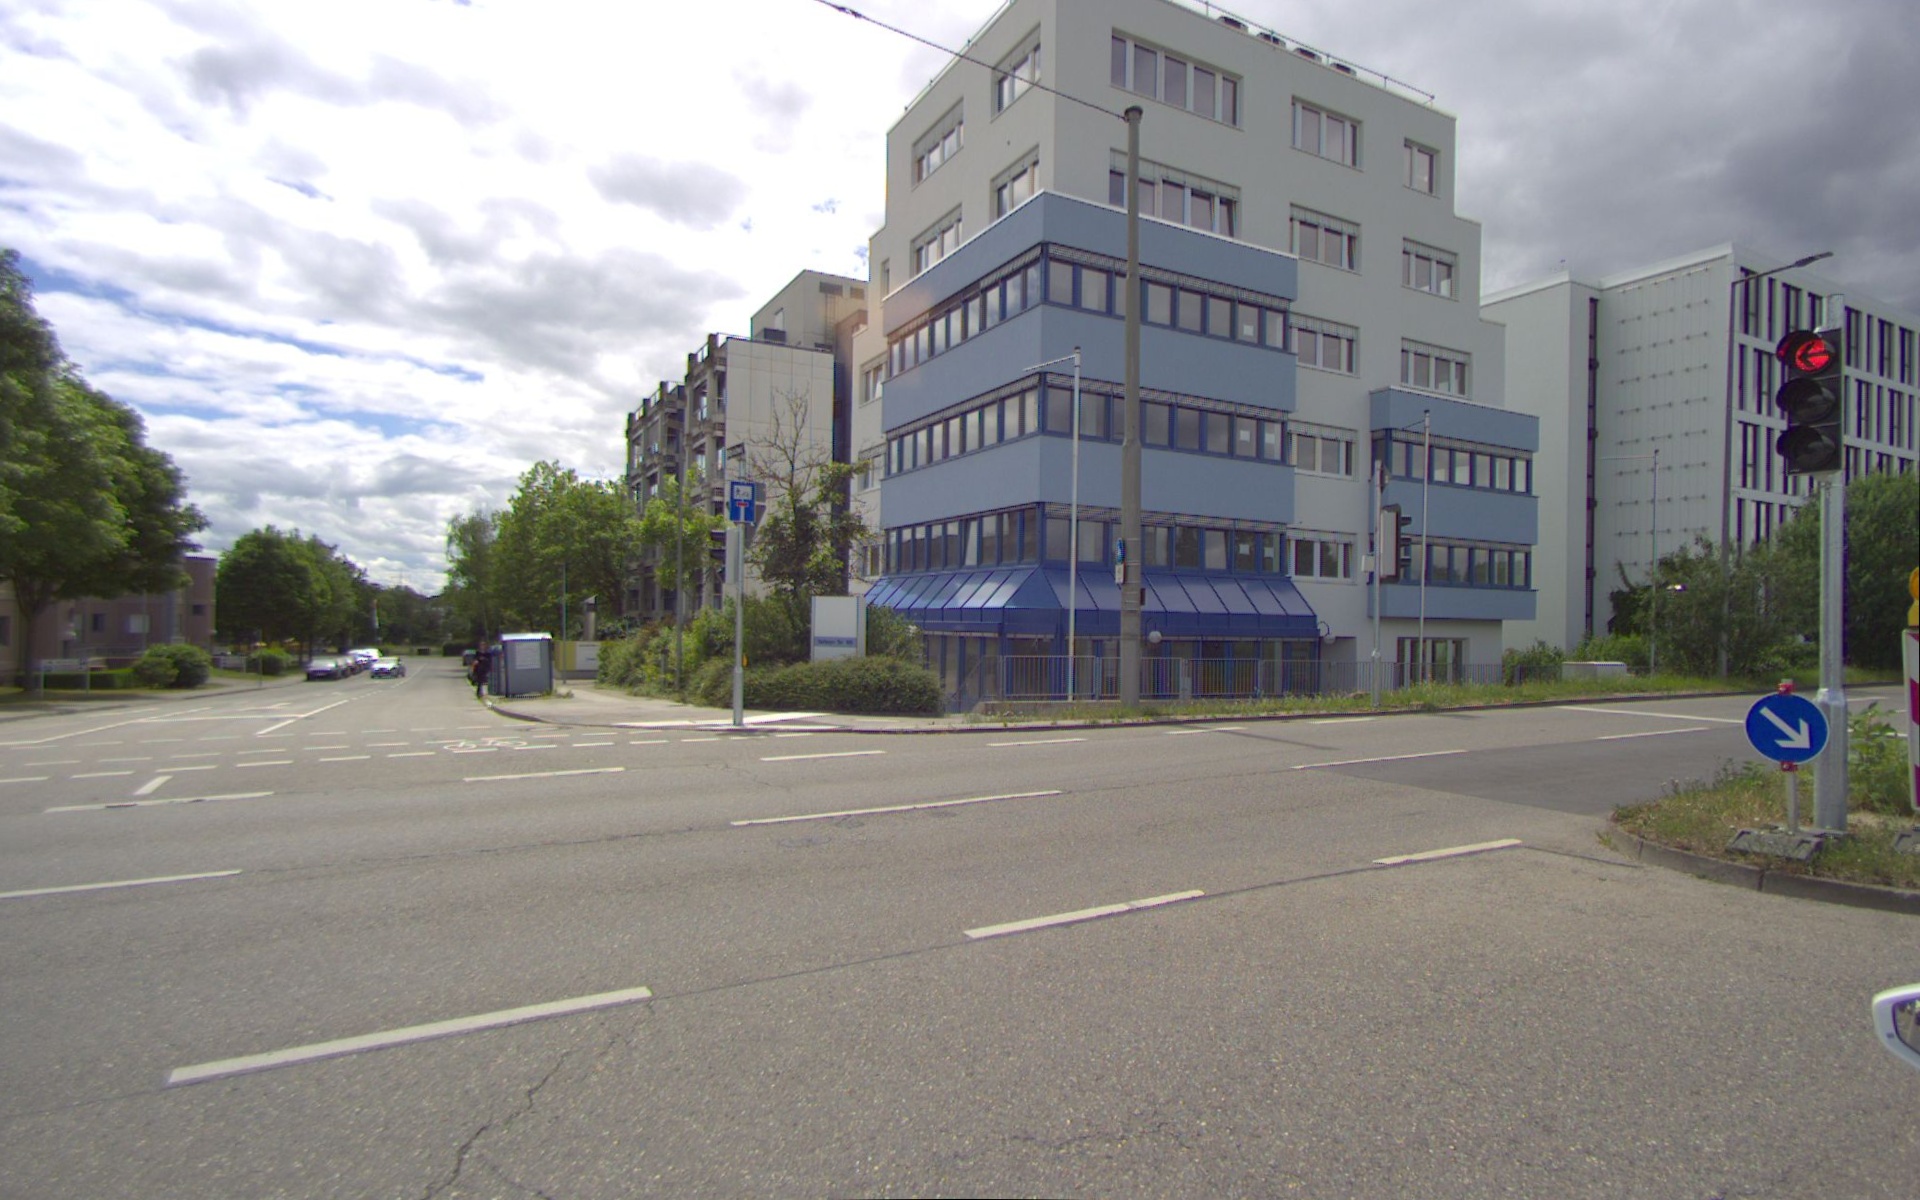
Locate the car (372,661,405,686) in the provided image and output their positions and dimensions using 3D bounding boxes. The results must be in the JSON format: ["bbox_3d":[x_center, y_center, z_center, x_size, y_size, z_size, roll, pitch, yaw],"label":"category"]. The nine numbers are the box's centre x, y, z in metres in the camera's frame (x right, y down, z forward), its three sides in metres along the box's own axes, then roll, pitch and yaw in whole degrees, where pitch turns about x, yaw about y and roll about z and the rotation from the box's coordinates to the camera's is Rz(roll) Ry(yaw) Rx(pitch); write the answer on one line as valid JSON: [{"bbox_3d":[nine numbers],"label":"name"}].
[{"bbox_3d":[-40.713,5.222,71.560,1.977,1.528,3.967,1,-1,-31],"label":"car"}]

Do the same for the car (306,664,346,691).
[{"bbox_3d":[-42.440,5.133,67.336,1.976,1.528,3.970,1,-1,-29],"label":"car"}]

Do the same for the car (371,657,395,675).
[{"bbox_3d":[-57.700,6.561,100.463,1.976,1.528,3.970,1,-1,-29],"label":"car"}]

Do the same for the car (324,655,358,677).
[{"bbox_3d":[-48.517,5.146,78.773,1.976,1.528,3.970,1,-1,-29],"label":"car"}]

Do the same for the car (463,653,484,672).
[{"bbox_3d":[-53.742,6.920,111.074,1.973,2.040,3.976,1,-3,-25],"label":"car"}]

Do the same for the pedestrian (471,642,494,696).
[{"bbox_3d":[-14.816,2.143,31.154,0.613,1.666,0.745,1,-4,-28],"label":"pedestrian"}]

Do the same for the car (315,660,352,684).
[{"bbox_3d":[-44.950,5.139,72.102,1.976,1.528,3.970,1,-1,-29],"label":"car"}]

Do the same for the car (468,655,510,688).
[{"bbox_3d":[-25.593,3.885,54.514,1.974,1.714,3.631,1,-4,-27],"label":"car"}]
